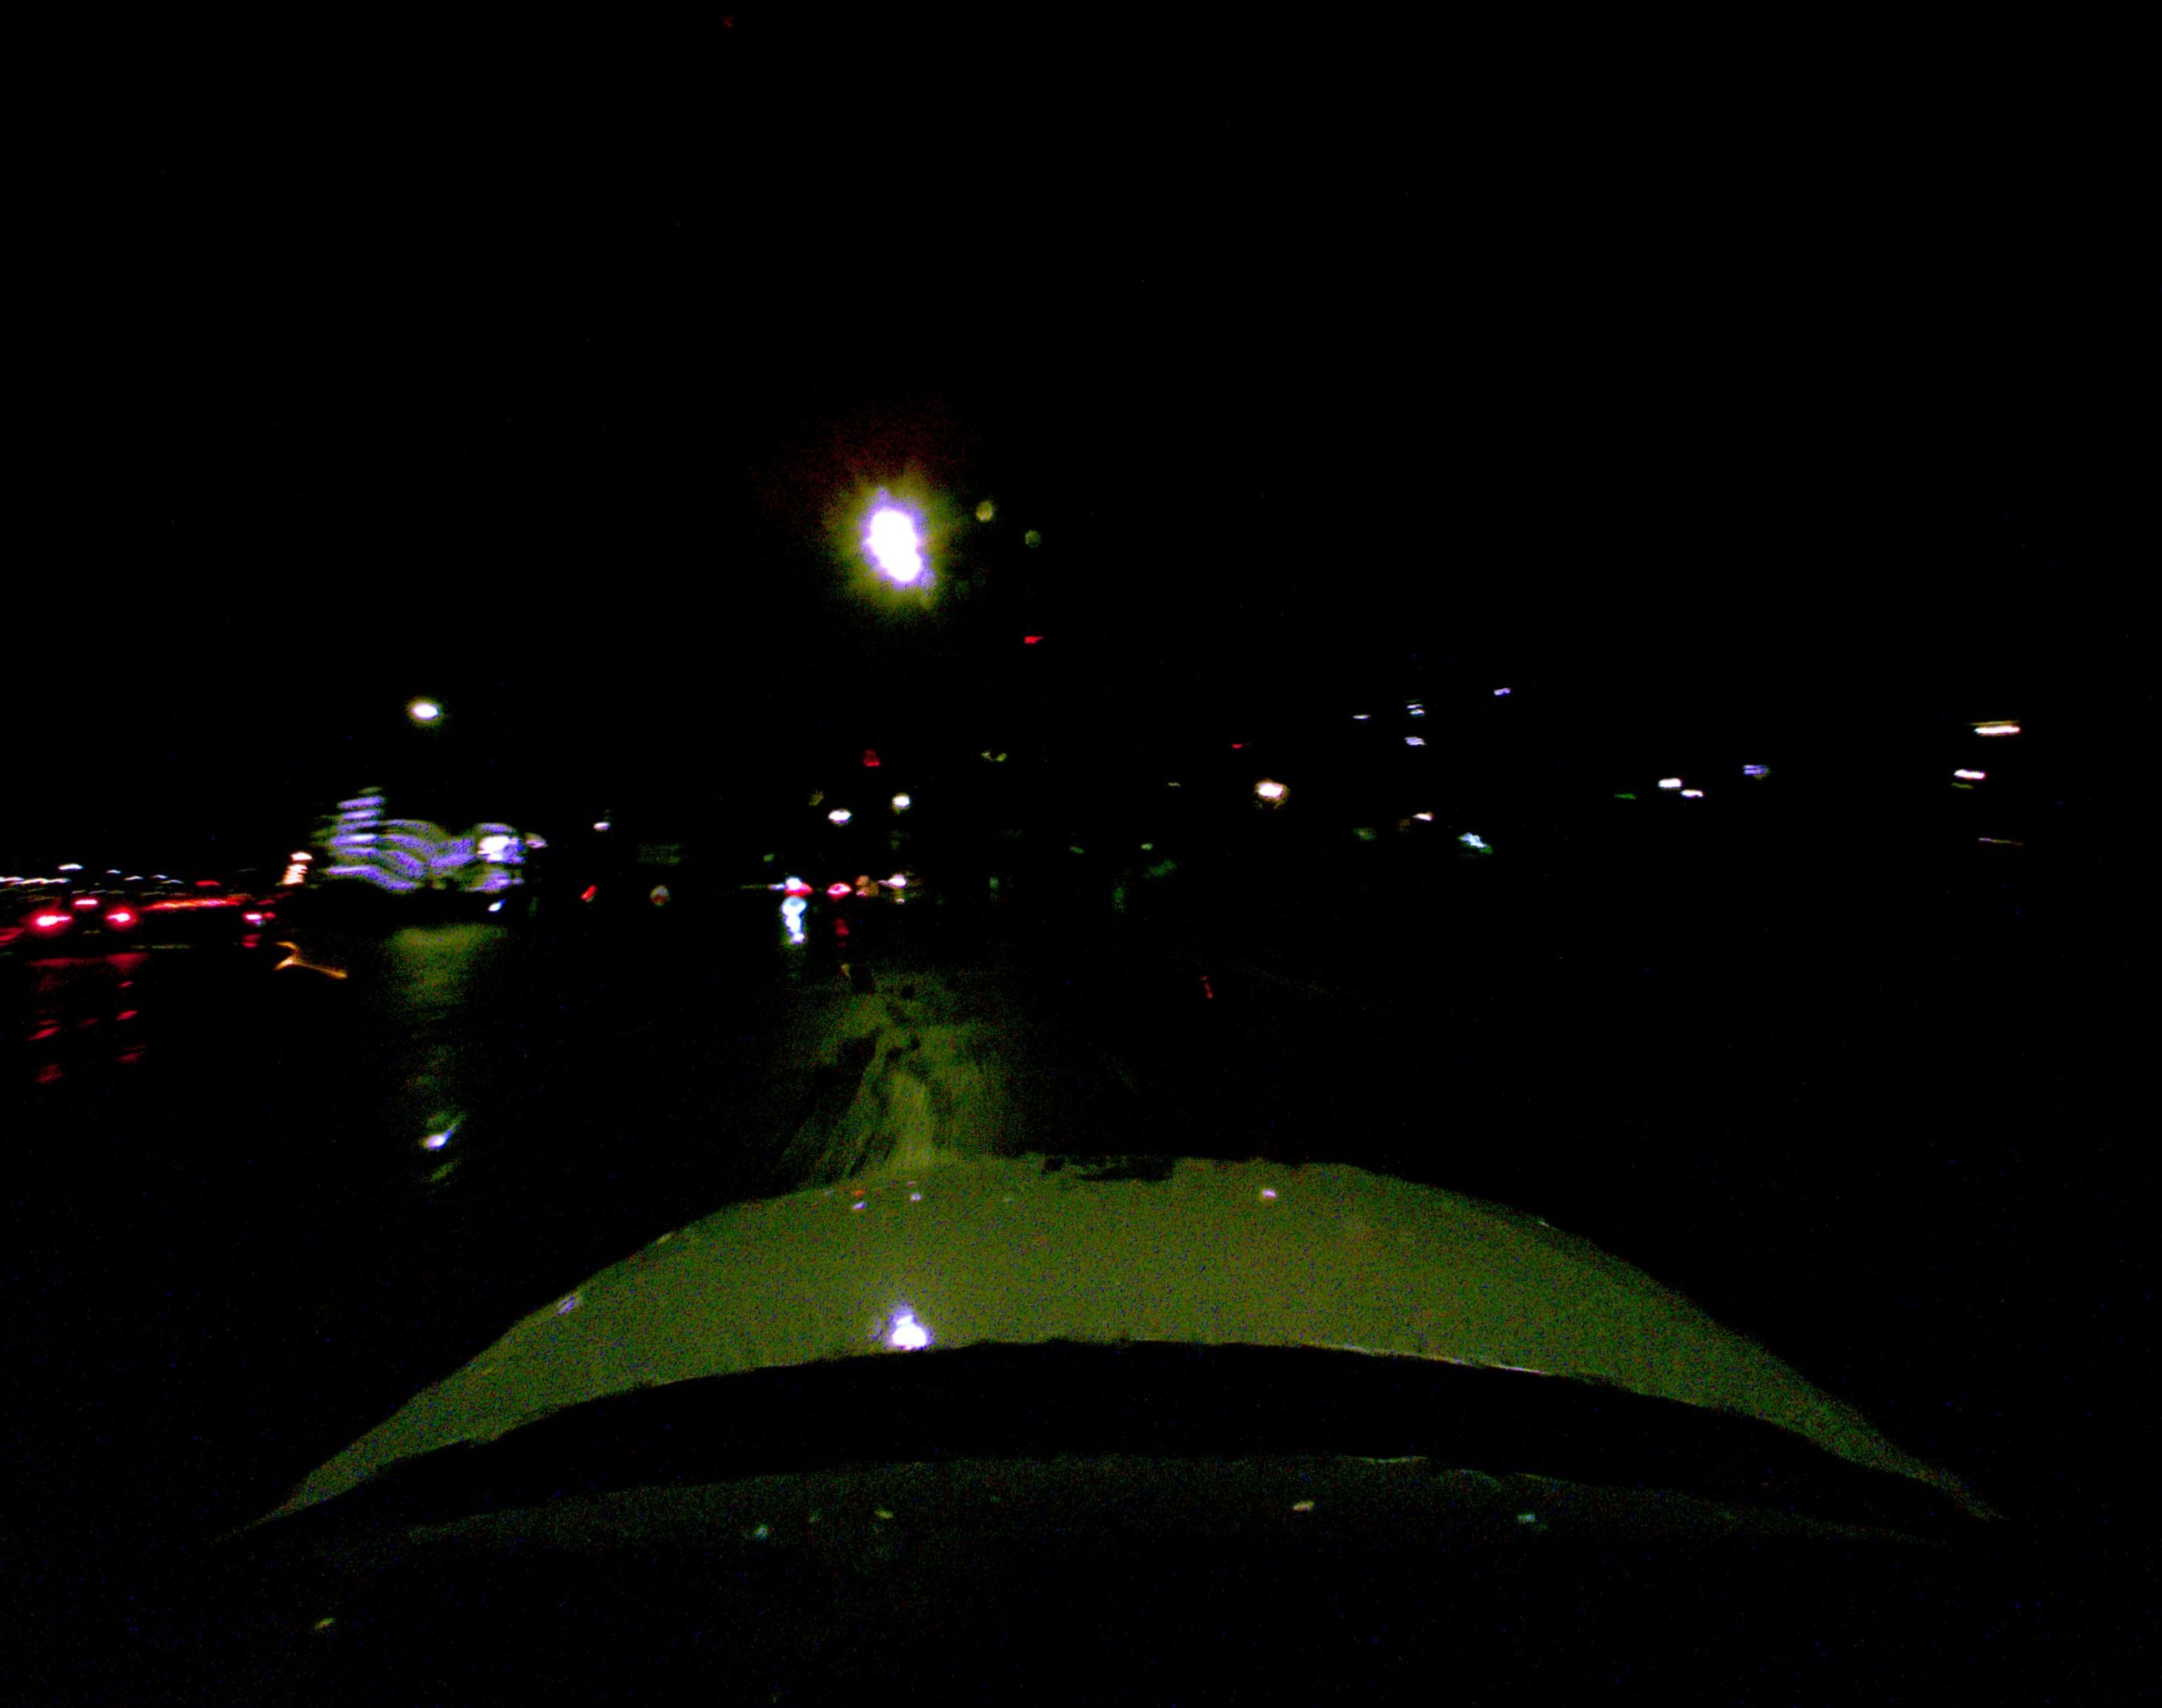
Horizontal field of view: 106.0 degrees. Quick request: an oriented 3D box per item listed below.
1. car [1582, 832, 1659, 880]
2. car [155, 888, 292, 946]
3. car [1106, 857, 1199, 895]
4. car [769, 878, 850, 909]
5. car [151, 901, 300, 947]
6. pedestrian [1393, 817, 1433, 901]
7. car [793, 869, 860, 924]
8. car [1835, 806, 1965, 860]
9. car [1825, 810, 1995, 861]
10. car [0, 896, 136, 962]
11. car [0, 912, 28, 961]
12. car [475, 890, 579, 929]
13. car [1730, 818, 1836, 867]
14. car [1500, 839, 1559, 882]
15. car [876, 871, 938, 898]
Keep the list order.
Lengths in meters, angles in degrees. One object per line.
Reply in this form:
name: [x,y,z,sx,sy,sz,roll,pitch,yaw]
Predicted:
car: [19.288,0.125,29.281,1.700,1.497,3.933,-3,-4,25]
car: [-26.478,1.916,25.162,3.584,1.578,1.747,-2,0,23]
car: [3.425,1.059,39.243,3.948,1.684,1.931,-2,0,34]
car: [-17.642,2.539,53.051,1.974,1.736,4.649,-2,0,37]
car: [-35.730,2.880,34.121,3.996,1.583,1.587,-2,0,-17]
pedestrian: [7.695,0.113,18.895,0.648,1.902,0.731,-2,0,9]
car: [-10.484,1.684,33.840,1.994,2.013,4.542,-2,0,-10]
car: [26.157,-0.641,26.177,1.700,1.536,3.935,-2,0,25]
car: [30.594,-0.646,30.238,4.016,1.682,1.803,-2,0,27]
car: [-28.364,2.032,22.694,3.915,1.578,1.747,-2,0,27]
car: [-37.769,2.817,26.999,3.600,1.578,1.739,-2,0,4]
car: [-27.253,2.686,40.143,1.840,1.640,3.915,-2,0,43]
car: [23.702,-0.392,27.648,1.700,1.496,3.935,-2,0,25]
car: [17.017,0.217,31.026,1.700,1.496,3.935,-2,0,25]
car: [-12.880,2.236,60.535,1.853,1.758,4.422,-2,0,34]
